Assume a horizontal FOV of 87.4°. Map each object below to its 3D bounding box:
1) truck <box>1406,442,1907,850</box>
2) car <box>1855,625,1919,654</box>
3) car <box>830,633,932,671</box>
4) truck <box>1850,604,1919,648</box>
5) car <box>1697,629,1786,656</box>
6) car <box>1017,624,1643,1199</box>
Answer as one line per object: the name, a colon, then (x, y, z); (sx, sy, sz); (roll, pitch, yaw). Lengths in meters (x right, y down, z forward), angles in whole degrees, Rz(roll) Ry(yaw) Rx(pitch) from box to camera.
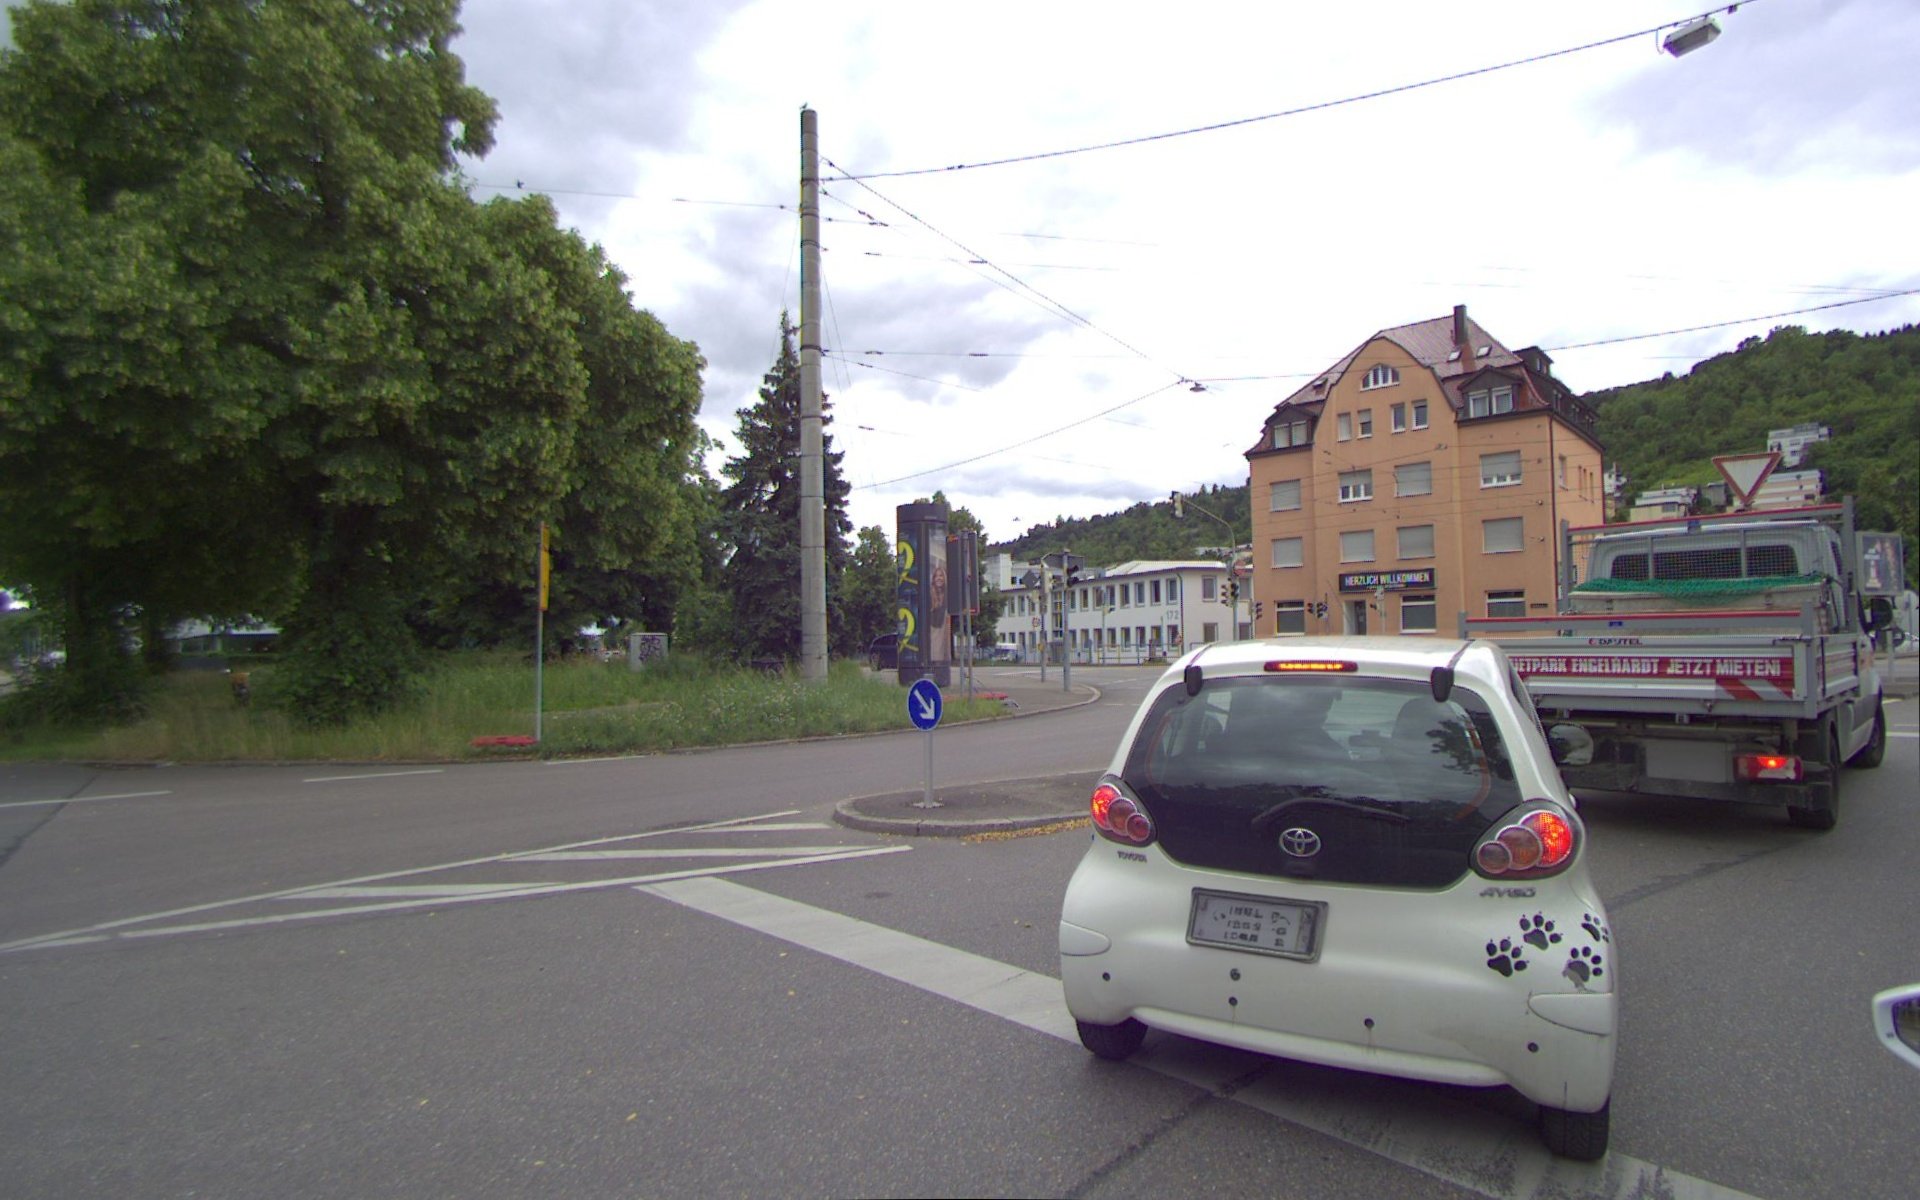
truck: (6.469, 0.367, 8.921); (5.986, 2.429, 2.399); (1, -4, -43)
car: (52.921, 2.213, 56.156); (1.764, 1.553, 4.162); (1, -3, -44)
car: (-3.206, 2.089, 39.966); (1.790, 1.385, 4.422); (0, -3, -40)
truck: (55.274, 1.488, 58.271); (5.112, 2.424, 1.995); (-3, -3, 33)
car: (47.594, 2.587, 61.238); (4.153, 1.553, 1.768); (-3, -3, 39)
car: (1.725, 0.872, 4.321); (1.615, 1.451, 3.426); (-3, -3, 28)
